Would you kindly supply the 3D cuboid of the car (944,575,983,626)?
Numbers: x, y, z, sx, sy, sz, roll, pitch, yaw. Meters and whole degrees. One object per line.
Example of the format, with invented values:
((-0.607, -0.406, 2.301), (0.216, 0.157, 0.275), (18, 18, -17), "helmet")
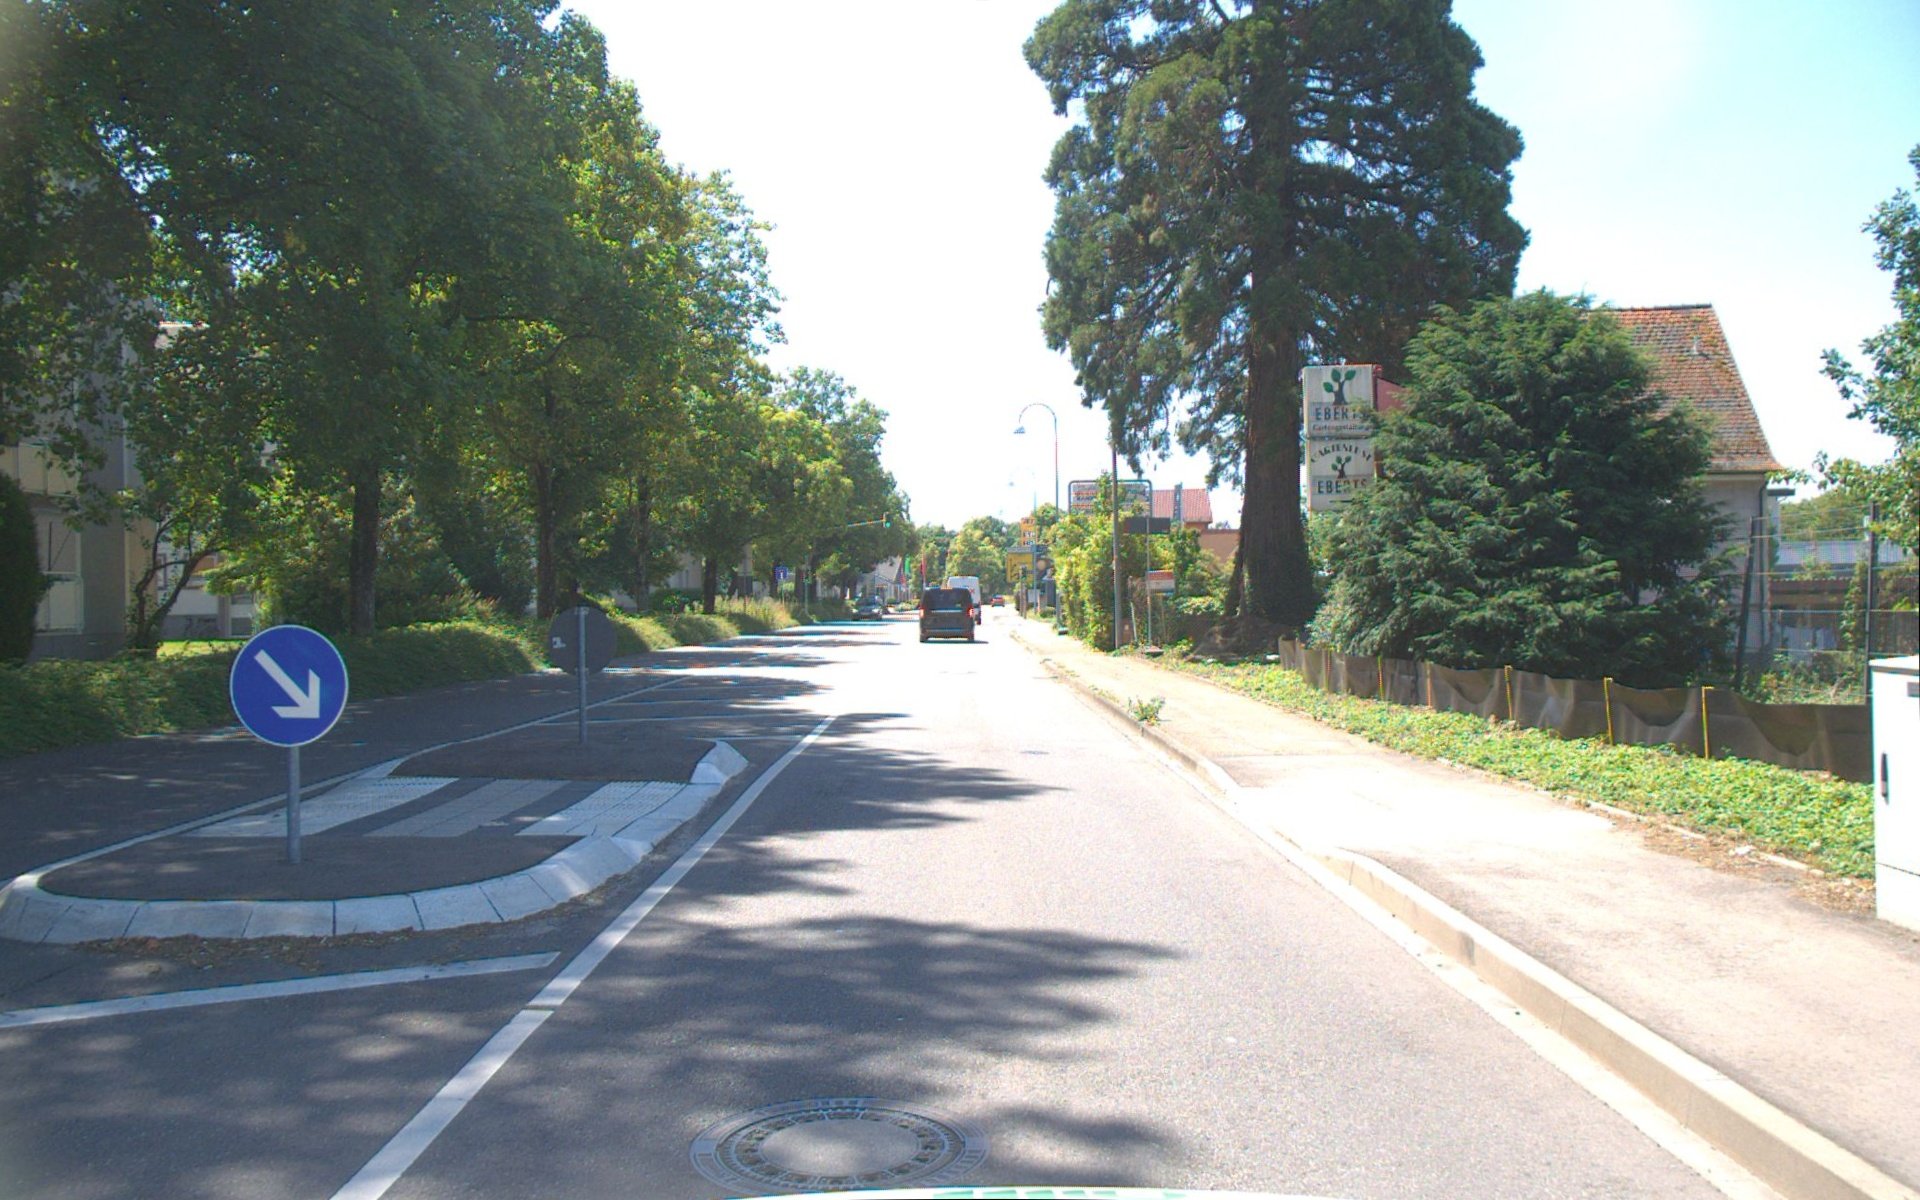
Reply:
((0.214, -0.008, 92.210), (2.076, 2.724, 5.663), (0, 1, 1), "car")

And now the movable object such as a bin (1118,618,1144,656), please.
((4.368, 0.950, 42.261), (0.462, 0.944, 0.522), (1, -1, 33), "movable object such as a bin")

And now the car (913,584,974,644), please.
((-0.596, 0.451, 55.859), (1.953, 1.926, 3.998), (0, 1, -2), "car")

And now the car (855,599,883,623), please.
((-5.799, 0.691, 105.845), (1.687, 1.452, 4.146), (0, 0, -2), "car")

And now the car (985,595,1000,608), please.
((4.430, 0.176, 225.743), (1.821, 1.671, 3.997), (0, 1, -4), "car")
